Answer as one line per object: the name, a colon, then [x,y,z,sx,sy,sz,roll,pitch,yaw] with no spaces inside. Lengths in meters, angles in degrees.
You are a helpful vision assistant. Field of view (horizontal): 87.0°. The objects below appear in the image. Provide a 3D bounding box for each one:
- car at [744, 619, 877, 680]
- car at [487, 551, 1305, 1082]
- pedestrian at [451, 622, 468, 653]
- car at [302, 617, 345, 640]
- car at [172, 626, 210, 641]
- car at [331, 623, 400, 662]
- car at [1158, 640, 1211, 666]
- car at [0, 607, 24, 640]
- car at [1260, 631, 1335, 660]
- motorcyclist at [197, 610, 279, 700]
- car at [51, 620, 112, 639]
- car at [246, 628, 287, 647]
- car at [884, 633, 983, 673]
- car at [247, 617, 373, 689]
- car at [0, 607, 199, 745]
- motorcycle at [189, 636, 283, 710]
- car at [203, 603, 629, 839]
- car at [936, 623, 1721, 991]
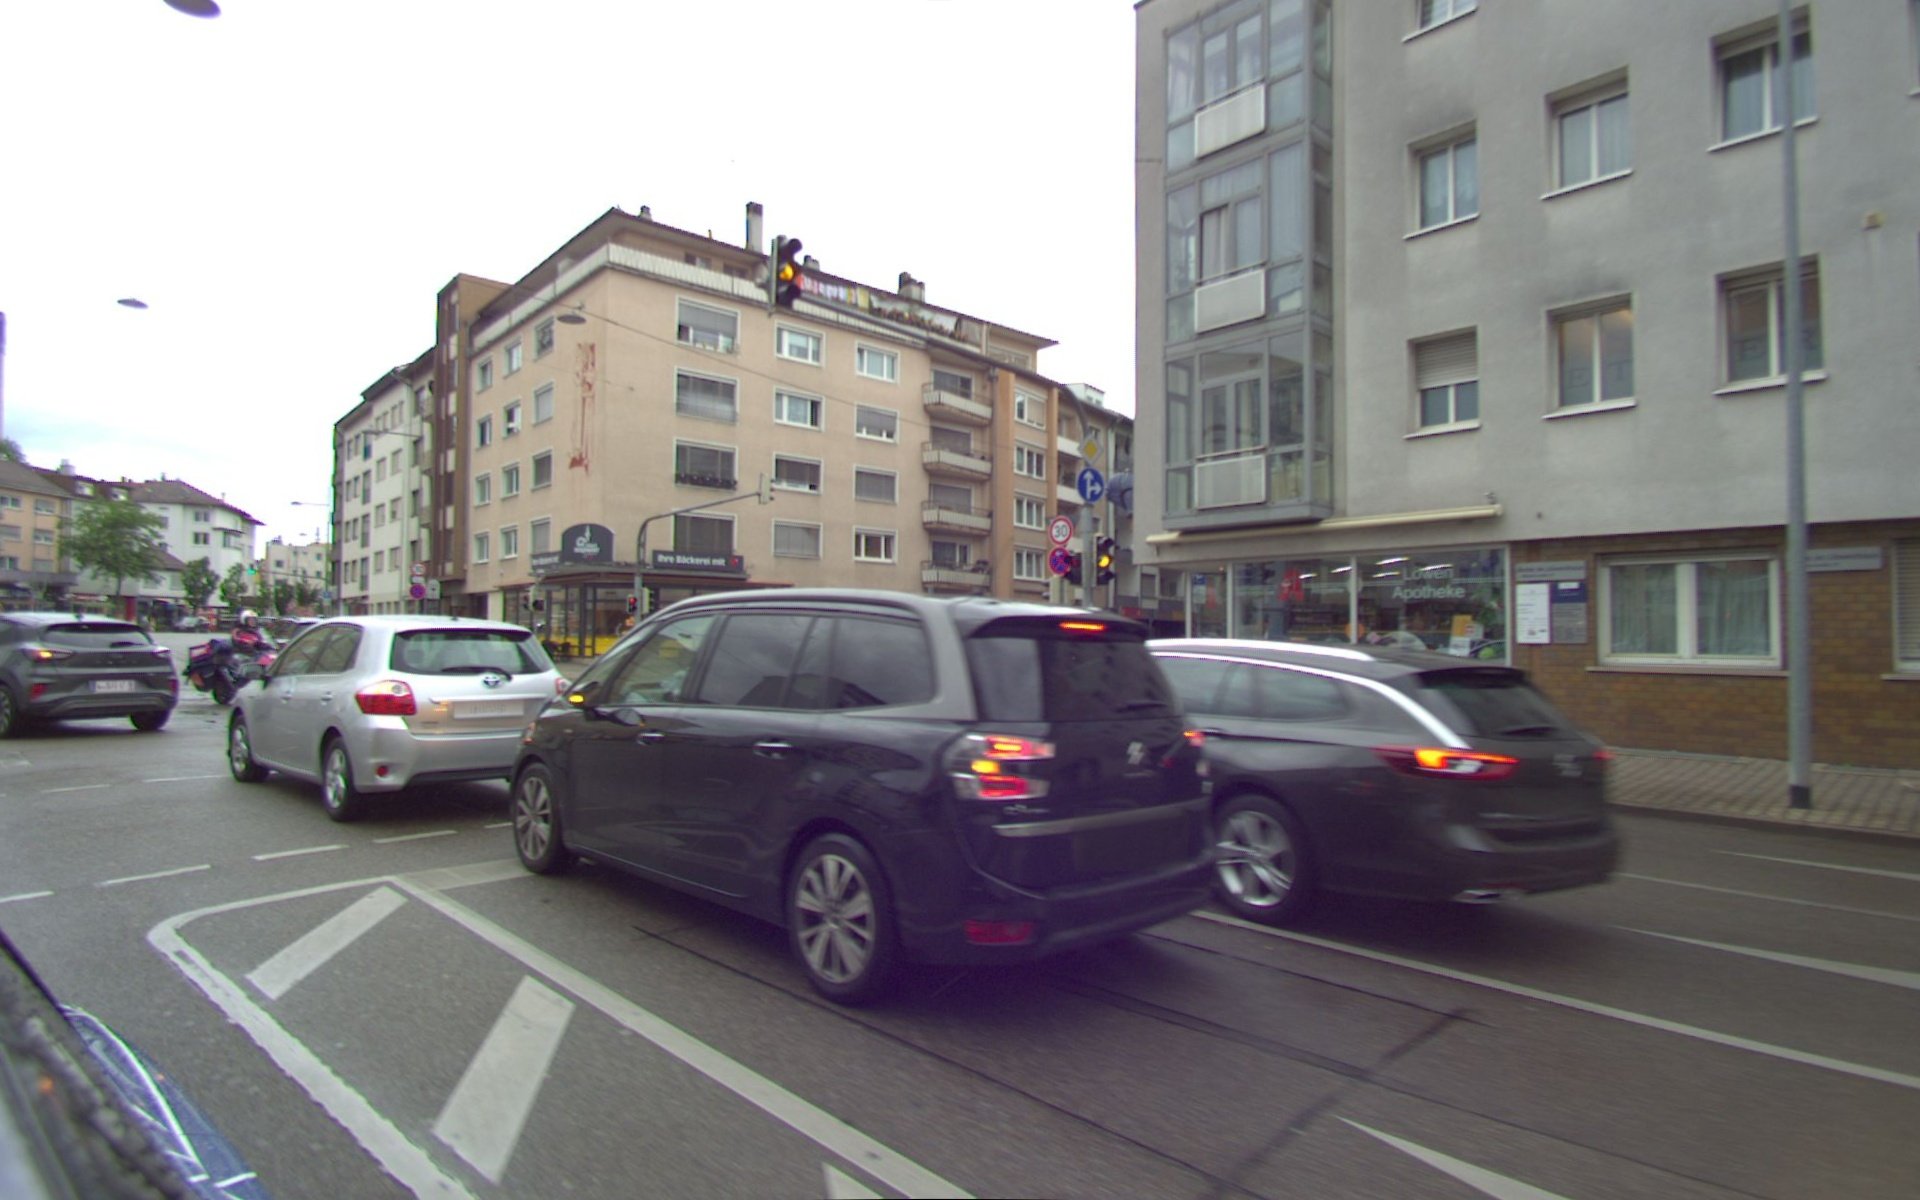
car: [-5.721,1.892,39.123,2.047,2.118,4.797,2,-1,43]
car: [-0.706,0.694,5.321,1.800,1.620,4.433,3,-2,-45]
pedestrian: [-26.161,1.952,52.865,0.668,1.595,0.538,0,-2,35]
car: [-62.986,2.797,100.301,2.090,2.029,5.143,-1,1,-14]
car: [-74.155,3.208,97.634,1.783,1.352,4.013,-1,-1,-20]
car: [-26.401,1.862,44.880,1.884,1.566,4.638,4,-3,-40]
car: [14.473,3.357,65.152,1.838,1.502,4.211,2,0,35]
car: [-61.448,1.464,63.379,2.162,2.102,5.953,1,-1,-23]
car: [21.075,2.859,63.297,3.994,1.674,1.867,-3,-2,38]
motorcyclist: [-12.606,0.937,17.675,0.861,1.505,0.908,-1,-1,32]
car: [-67.949,2.258,78.339,1.814,1.453,4.009,-1,-1,-12]
car: [-62.402,3.360,91.089,1.836,1.659,4.266,3,-2,-18]
car: [-1.134,2.323,44.788,2.045,1.567,4.283,2,-1,39]
car: [-16.890,1.311,26.205,4.376,1.652,1.800,0,-2,45]
car: [-12.207,0.890,13.240,4.203,1.565,1.846,0,-2,26]
motorcycle: [-12.666,1.239,17.679,2.095,1.200,0.582,0,-1,32]
car: [-4.847,0.835,8.775,4.133,1.538,1.914,0,-2,42]
car: [1.799,0.932,6.356,1.796,1.444,4.410,4,-4,-33]
